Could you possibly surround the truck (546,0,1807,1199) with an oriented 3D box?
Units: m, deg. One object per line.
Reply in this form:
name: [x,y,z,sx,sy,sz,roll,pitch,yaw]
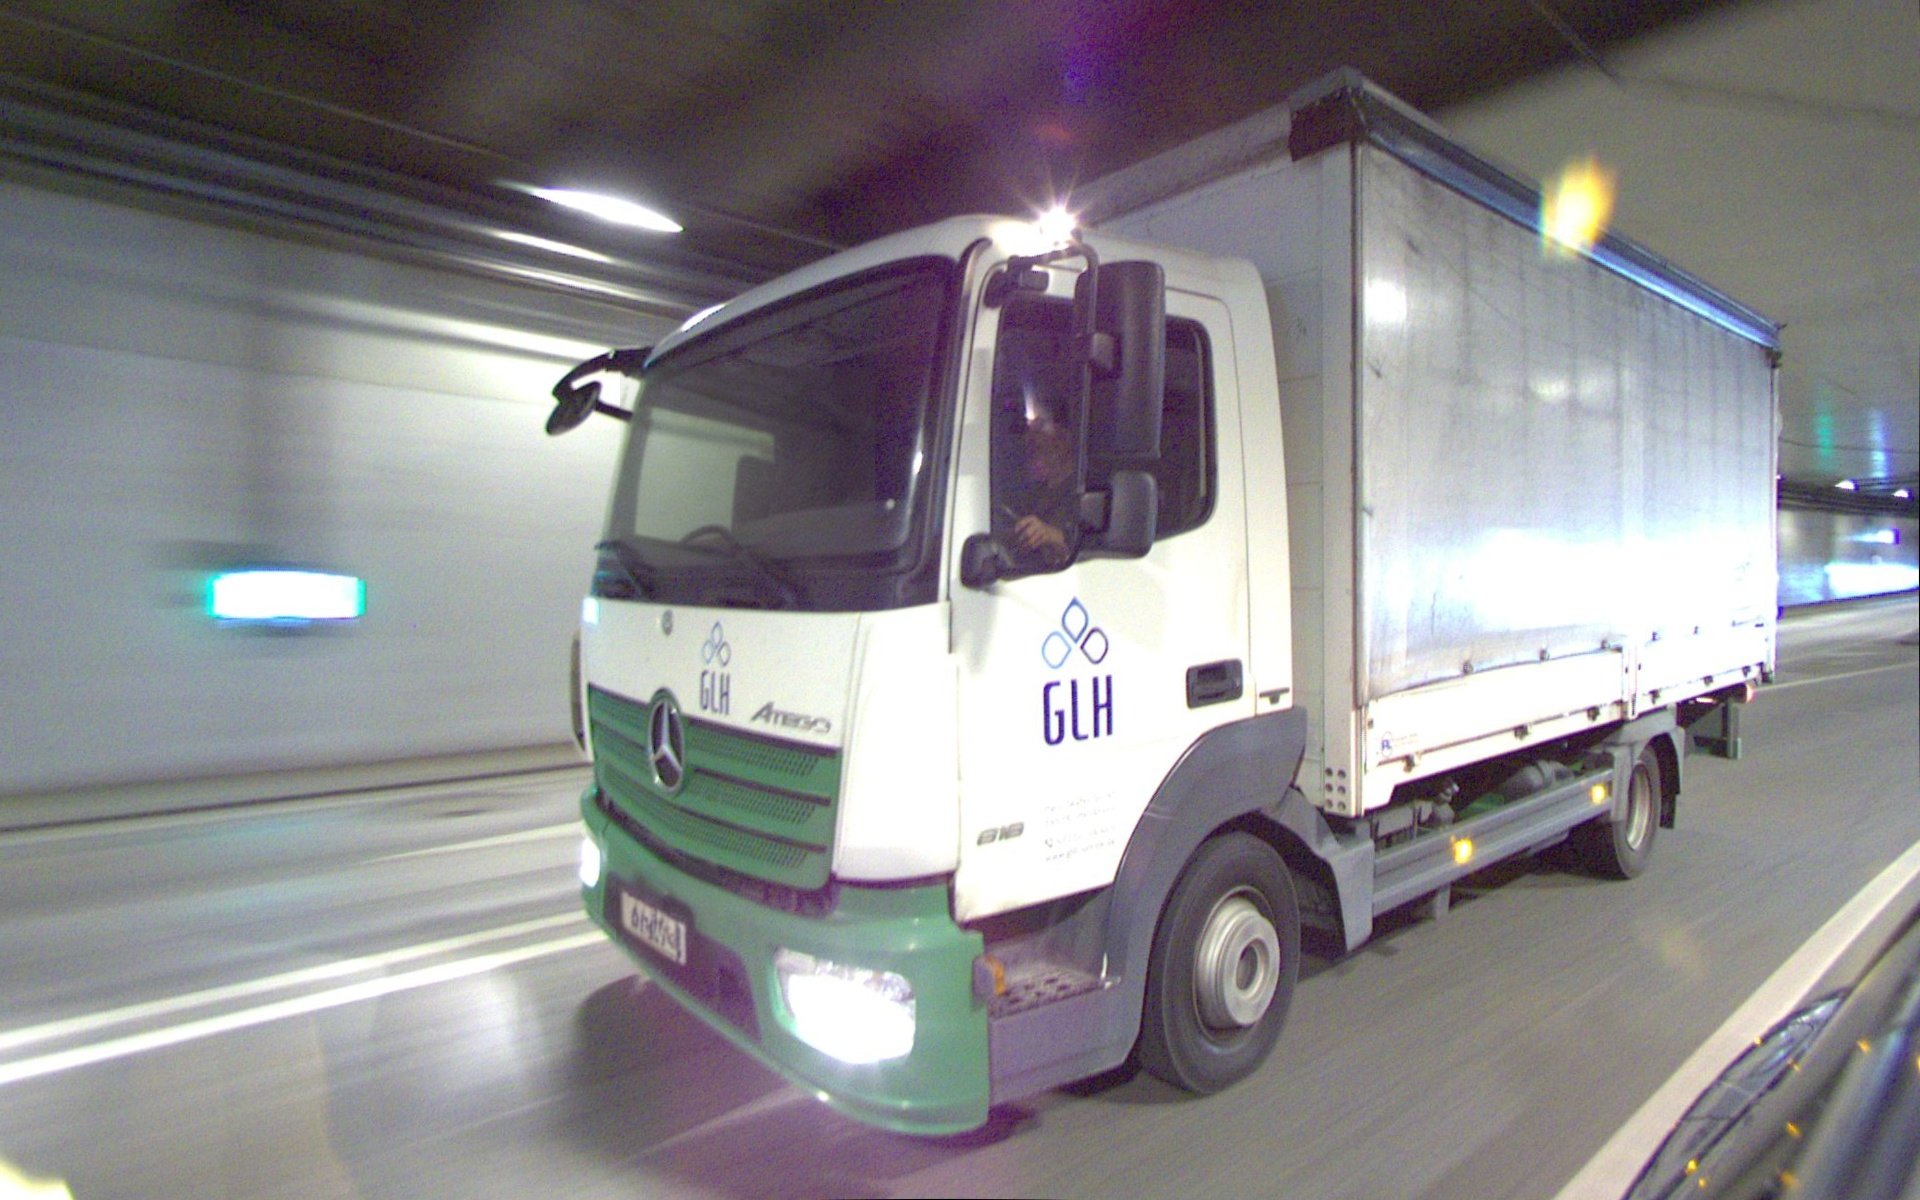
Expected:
truck: [1.906,-0.229,5.270,7.115,3.221,2.559,0,1,-39]
